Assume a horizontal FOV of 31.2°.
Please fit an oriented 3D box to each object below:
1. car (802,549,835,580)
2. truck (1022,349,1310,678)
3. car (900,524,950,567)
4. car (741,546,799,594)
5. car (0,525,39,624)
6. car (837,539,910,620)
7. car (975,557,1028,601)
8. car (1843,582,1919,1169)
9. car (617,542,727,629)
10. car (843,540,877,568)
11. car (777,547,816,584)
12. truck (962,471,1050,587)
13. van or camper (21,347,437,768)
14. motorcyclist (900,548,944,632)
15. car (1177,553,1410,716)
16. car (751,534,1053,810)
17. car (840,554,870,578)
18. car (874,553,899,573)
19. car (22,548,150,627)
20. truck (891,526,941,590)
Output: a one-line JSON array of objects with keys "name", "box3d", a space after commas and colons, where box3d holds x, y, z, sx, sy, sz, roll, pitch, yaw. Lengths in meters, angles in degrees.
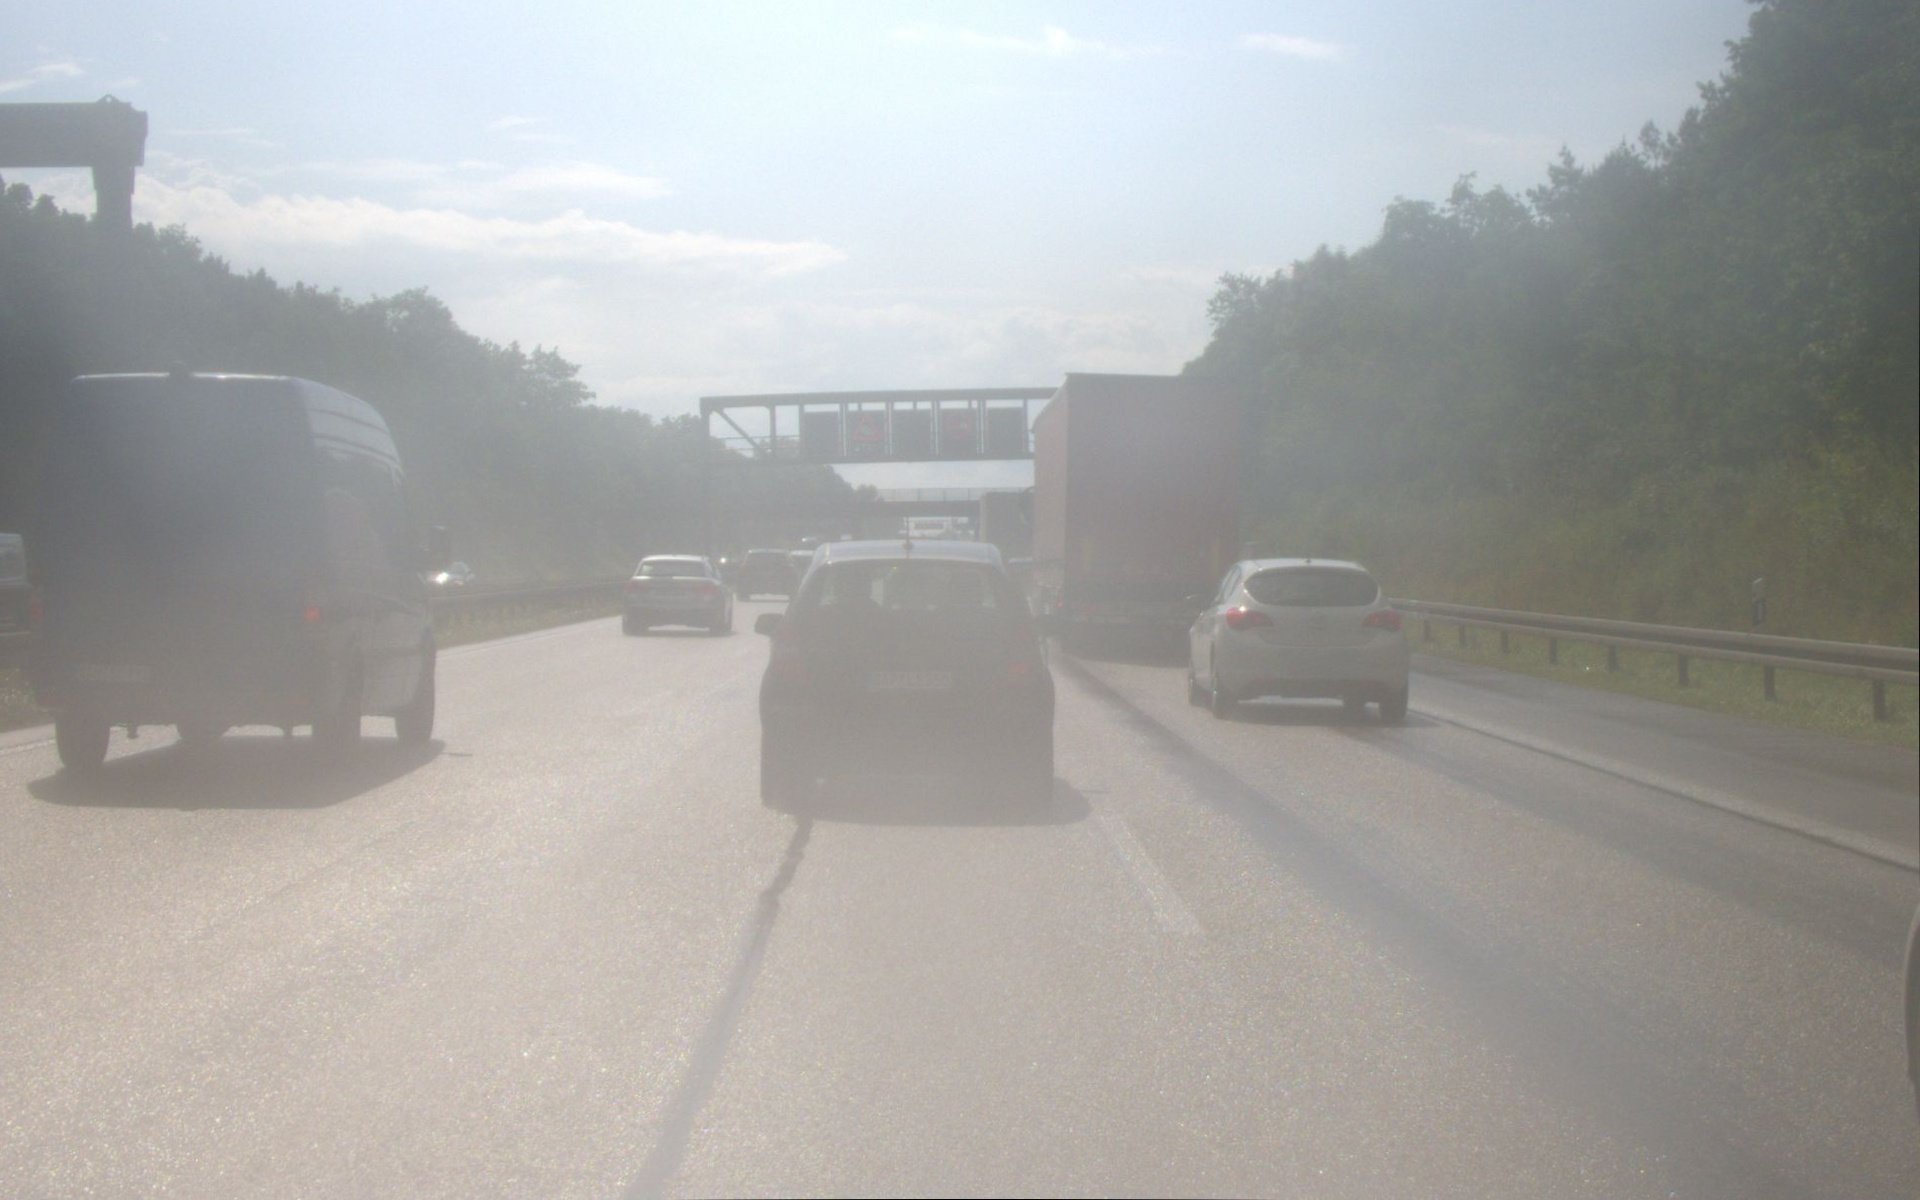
[{"name": "car", "box3d": [-6.589, -1.653, 159.858, 1.514, 1.385, 3.273, 1, 1, -2]}, {"name": "truck", "box3d": [3.123, -1.346, 58.086, 3.650, 4.704, 16.779, 1, 1, 0]}, {"name": "car", "box3d": [-1.179, -1.799, 113.819, 1.552, 1.378, 3.210, 1, 1, -2]}, {"name": "car", "box3d": [-5.989, -0.951, 108.594, 1.751, 1.452, 3.390, 1, 1, -2]}, {"name": "car", "box3d": [-22.753, -0.597, 77.959, 2.145, 2.241, 5.980, 1, 1, 0]}, {"name": "car", "box3d": [-1.930, -0.462, 75.776, 1.531, 1.740, 3.485, 1, 1, -2]}, {"name": "car", "box3d": [1.337, -0.695, 111.757, 1.552, 1.378, 3.210, 1, 1, -2]}, {"name": "car", "box3d": [3.199, 0.702, 6.942, 1.692, 1.420, 4.220, 1, 1, 0]}, {"name": "car", "box3d": [-5.316, -0.287, 63.817, 1.854, 1.546, 3.485, 1, 1, -2]}, {"name": "car", "box3d": [-6.118, -2.813, 210.814, 1.993, 1.695, 4.000, 0, 1, 0]}, {"name": "car", "box3d": [-6.407, -1.356, 134.873, 1.460, 1.389, 3.312, 1, 1, -2]}, {"name": "truck", "box3d": [1.800, -2.834, 139.891, 3.256, 4.464, 12.422, 1, 1, 0]}, {"name": "van or camper", "box3d": [-5.085, -0.303, 24.690, 1.993, 2.659, 5.385, 1, 1, -2]}, {"name": "motorcyclist", "box3d": [-0.744, -0.202, 67.196, 0.801, 1.627, 1.013, 1, 1, -2]}, {"name": "car", "box3d": [3.120, 0.286, 32.830, 1.680, 1.437, 3.905, 1, 1, -2]}, {"name": "car", "box3d": [-0.400, 0.396, 21.513, 1.717, 1.562, 3.485, 1, 1, -2]}, {"name": "car", "box3d": [-5.770, -1.883, 188.931, 1.549, 1.262, 3.485, 1, 1, -3]}, {"name": "car", "box3d": [-4.876, -2.466, 227.760, 1.549, 1.262, 3.485, 1, 1, -3]}, {"name": "car", "box3d": [-18.691, -0.282, 73.665, 1.747, 1.628, 4.000, 1, 1, 0]}, {"name": "truck", "box3d": [-2.070, -1.954, 160.141, 2.192, 2.865, 4.850, 1, 1, -2]}]
